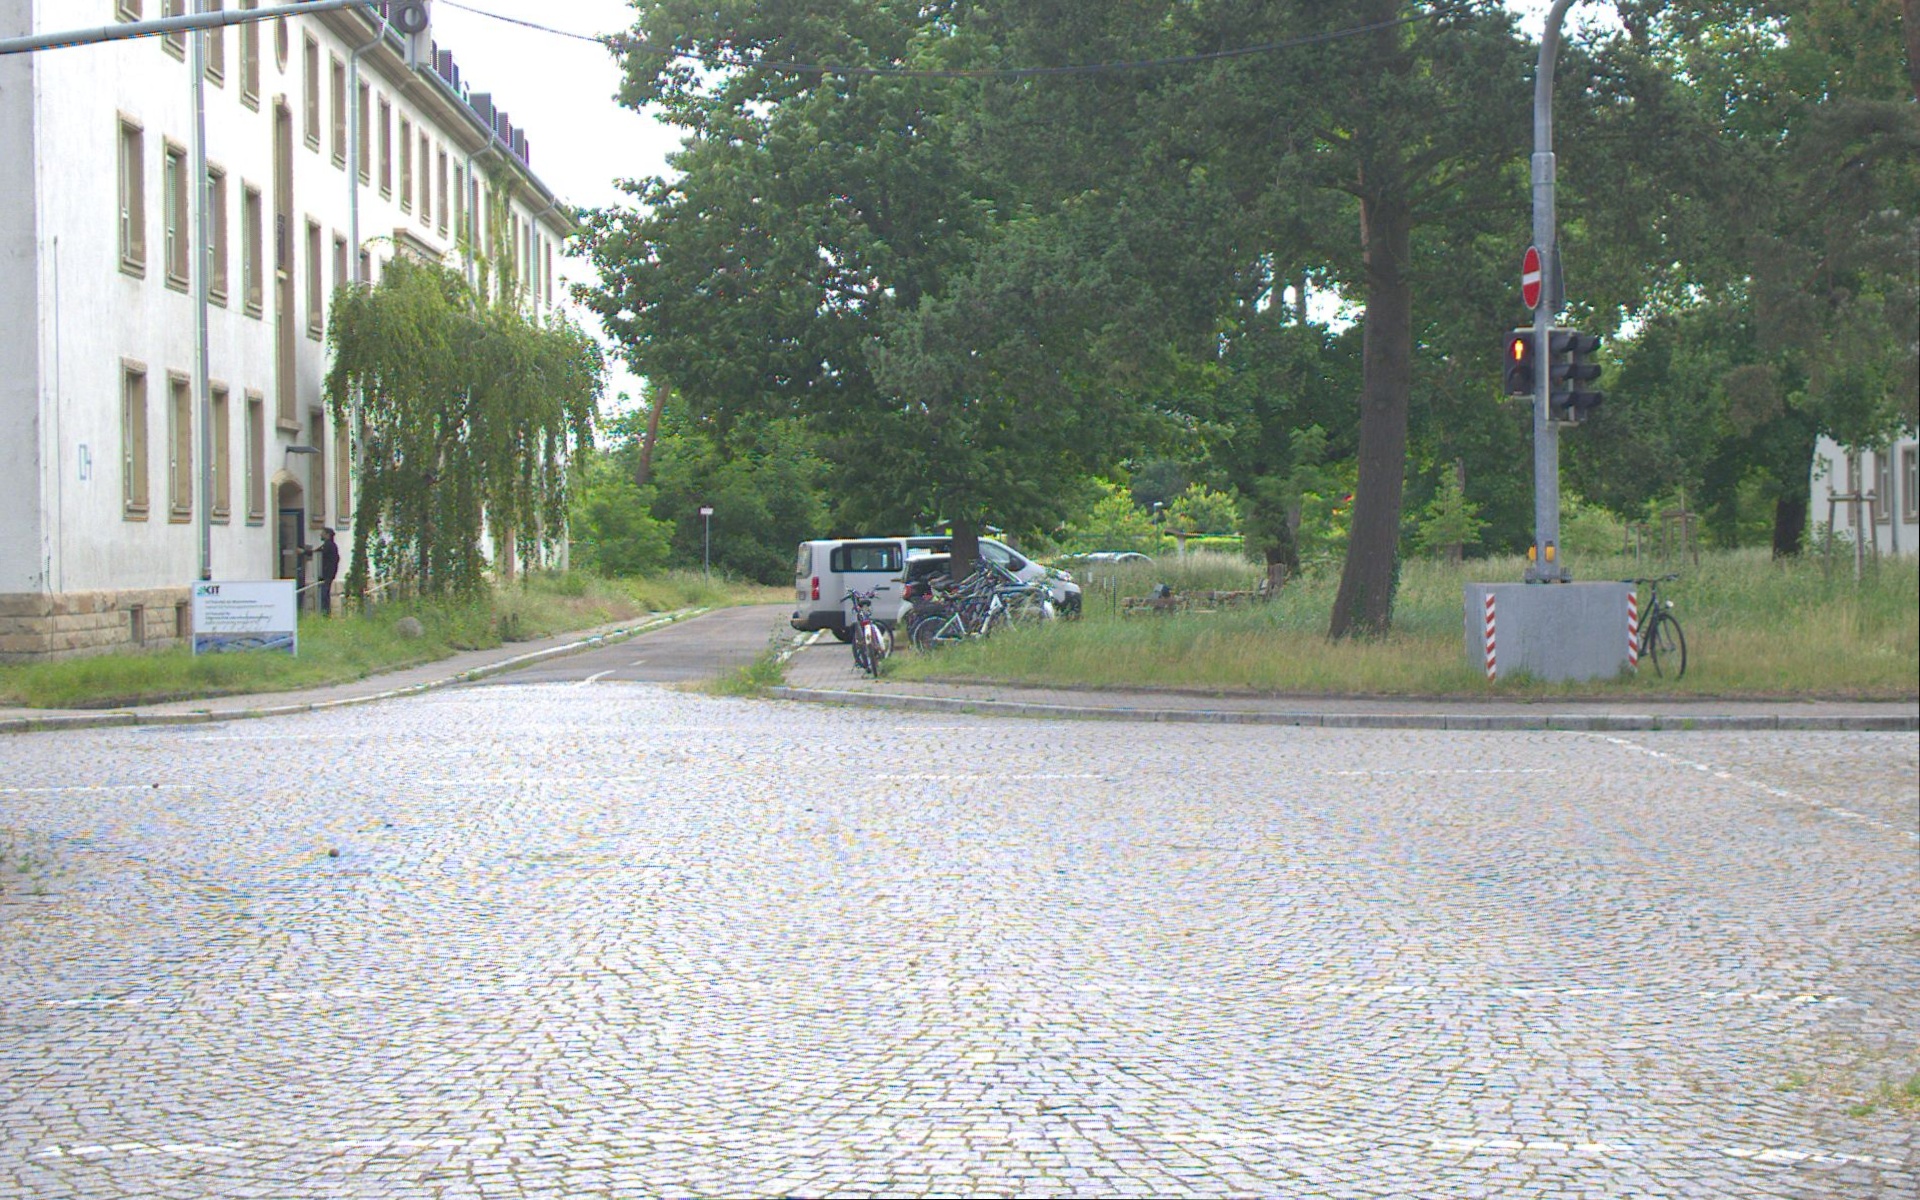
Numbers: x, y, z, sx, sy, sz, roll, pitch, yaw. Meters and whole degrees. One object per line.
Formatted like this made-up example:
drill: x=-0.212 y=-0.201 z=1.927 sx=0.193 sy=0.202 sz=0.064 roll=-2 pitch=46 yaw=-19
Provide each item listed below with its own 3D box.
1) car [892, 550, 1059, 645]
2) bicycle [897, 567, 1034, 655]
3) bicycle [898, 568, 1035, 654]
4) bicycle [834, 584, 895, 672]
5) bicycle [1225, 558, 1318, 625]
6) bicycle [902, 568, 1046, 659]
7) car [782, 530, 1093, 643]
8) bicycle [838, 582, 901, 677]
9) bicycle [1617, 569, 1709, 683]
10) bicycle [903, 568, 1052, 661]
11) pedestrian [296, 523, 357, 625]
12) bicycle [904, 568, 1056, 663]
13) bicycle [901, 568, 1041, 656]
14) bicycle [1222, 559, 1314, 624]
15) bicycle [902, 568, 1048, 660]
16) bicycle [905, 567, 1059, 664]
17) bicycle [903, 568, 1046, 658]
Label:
car: x=0.253 y=-0.057 z=59.645 sx=2.847 sy=1.552 sz=1.472 roll=-1 pitch=2 yaw=-1
bicycle: x=0.073 y=0.160 z=51.338 sx=1.982 sy=1.243 sz=0.624 roll=-2 pitch=0 yaw=-2
bicycle: x=0.090 y=0.165 z=50.679 sx=1.982 sy=1.243 sz=0.624 roll=0 pitch=0 yaw=-2
bicycle: x=-1.202 y=0.347 z=43.595 sx=0.622 sy=1.079 sz=1.677 roll=0 pitch=0 yaw=3
bicycle: x=5.308 y=-0.141 z=58.602 sx=1.549 sy=1.121 sz=0.401 roll=0 pitch=0 yaw=1
bicycle: x=0.194 y=0.183 z=48.068 sx=1.982 sy=1.243 sz=0.624 roll=0 pitch=0 yaw=-2
car: x=-0.434 y=-0.264 z=63.117 sx=5.303 sy=1.909 sz=2.150 roll=-1 pitch=1 yaw=-15
bicycle: x=-1.088 y=0.345 z=41.641 sx=0.622 sy=1.110 sz=1.989 roll=0 pitch=0 yaw=2
bicycle: x=6.661 y=0.234 z=32.623 sx=0.580 sy=0.967 sz=1.678 roll=-2 pitch=2 yaw=3
bicycle: x=0.226 y=0.194 z=46.576 sx=1.982 sy=1.243 sz=0.624 roll=0 pitch=0 yaw=-2
pedestrian: x=-11.213 y=-0.465 z=60.885 sx=0.837 sy=1.775 sz=0.941 roll=0 pitch=1 yaw=5
bicycle: x=0.262 y=0.200 z=45.650 sx=1.982 sy=1.243 sz=0.624 roll=0 pitch=0 yaw=-2
bicycle: x=0.154 y=0.172 z=49.672 sx=1.982 sy=1.243 sz=0.624 roll=0 pitch=0 yaw=-2
bicycle: x=5.356 y=-0.152 z=59.833 sx=1.549 sy=1.121 sz=0.401 roll=0 pitch=0 yaw=1
bicycle: x=0.204 y=0.188 z=47.436 sx=1.982 sy=1.243 sz=0.624 roll=0 pitch=0 yaw=-2
bicycle: x=0.278 y=0.205 z=45.021 sx=1.982 sy=1.243 sz=0.624 roll=0 pitch=0 yaw=-2
bicycle: x=0.197 y=0.180 z=48.594 sx=1.982 sy=1.243 sz=0.624 roll=0 pitch=0 yaw=-2
